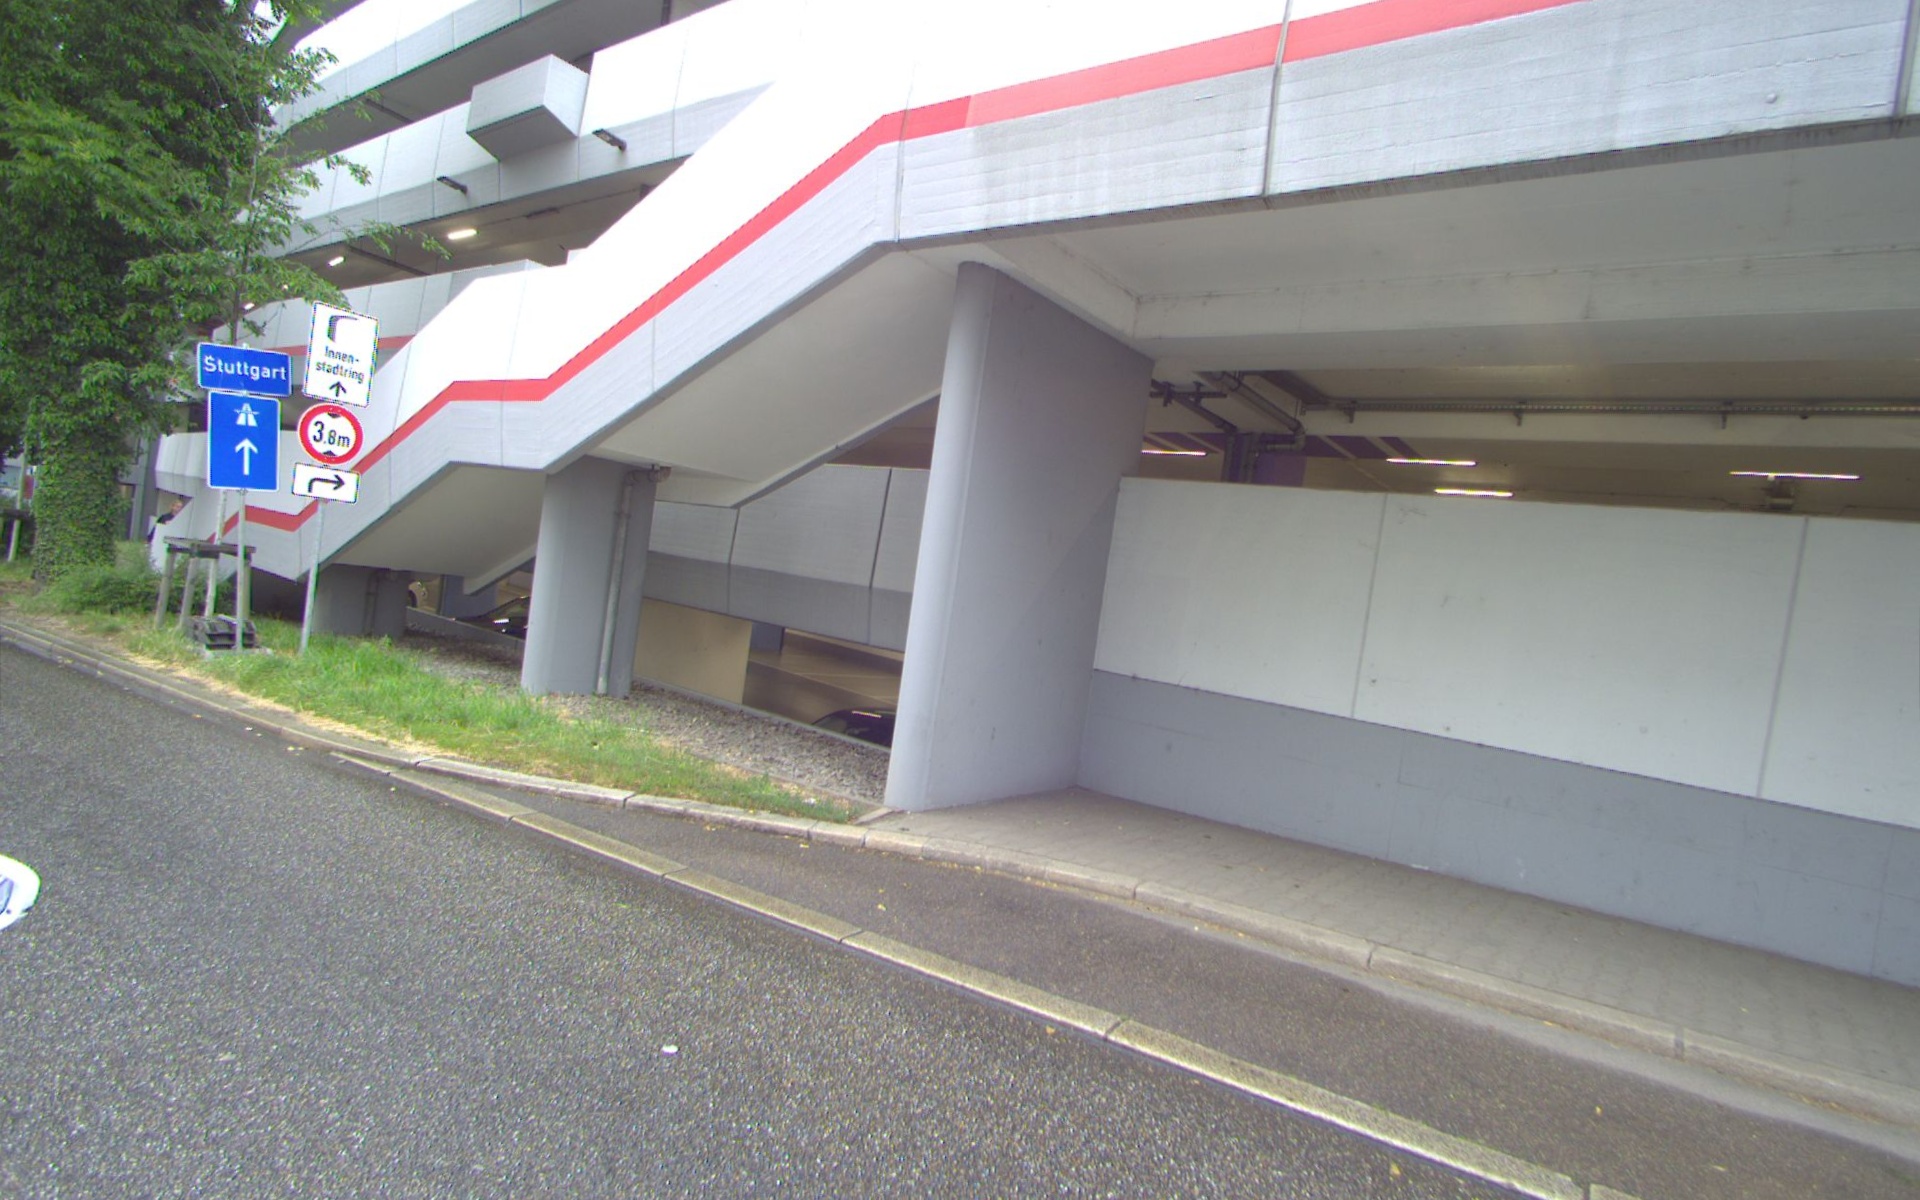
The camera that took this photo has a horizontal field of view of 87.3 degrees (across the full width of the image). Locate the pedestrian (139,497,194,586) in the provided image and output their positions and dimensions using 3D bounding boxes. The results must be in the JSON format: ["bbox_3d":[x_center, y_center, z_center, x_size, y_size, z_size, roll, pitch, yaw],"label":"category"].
[{"bbox_3d":[-14.567,-1.072,18.475,0.481,1.550,0.551,6,-1,38],"label":"pedestrian"}]
